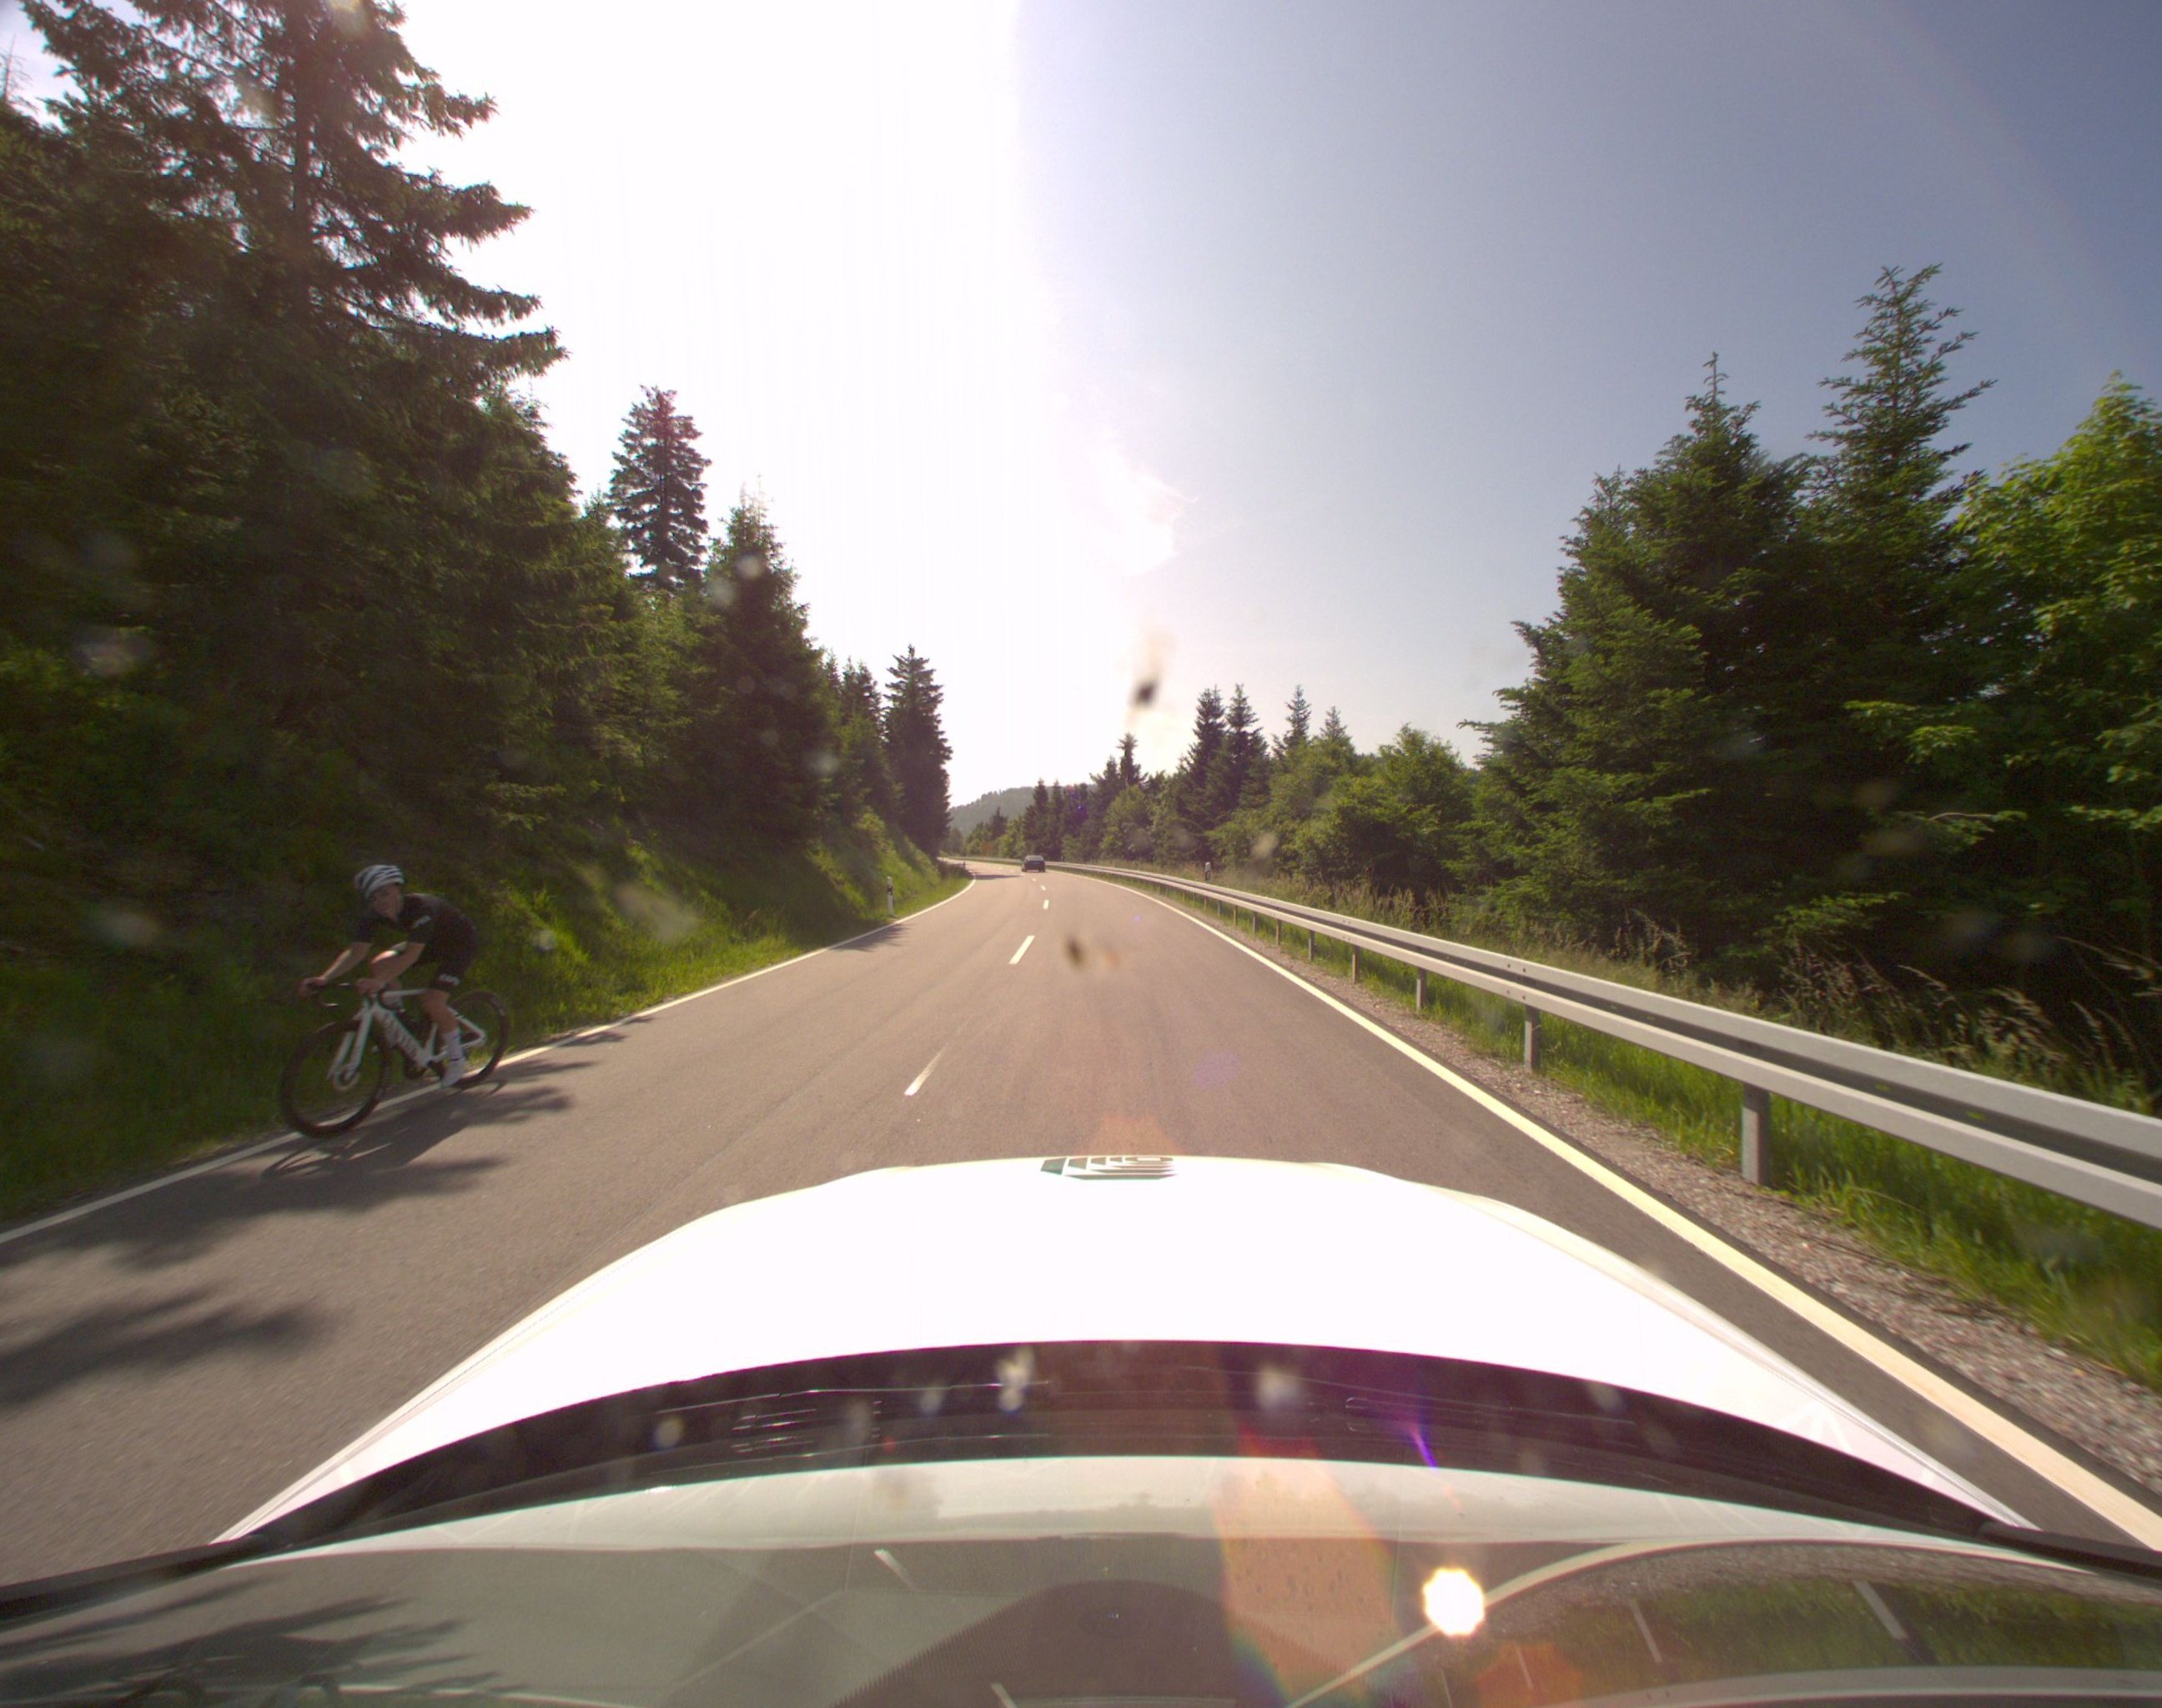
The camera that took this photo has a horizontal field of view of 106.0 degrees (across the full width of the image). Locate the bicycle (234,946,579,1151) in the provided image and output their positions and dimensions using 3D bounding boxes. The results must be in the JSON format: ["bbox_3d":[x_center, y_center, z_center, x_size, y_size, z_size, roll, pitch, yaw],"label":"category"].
[{"bbox_3d":[-4.374,1.193,5.542,0.551,0.886,2.063,-2,0,2],"label":"bicycle"}]

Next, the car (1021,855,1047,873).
[{"bbox_3d":[-4.040,0.823,69.718,1.776,1.442,3.696,-2,0,-10],"label":"car"}]

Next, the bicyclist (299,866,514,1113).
[{"bbox_3d":[-4.388,0.821,5.373,0.539,1.451,0.984,-2,0,2],"label":"bicyclist"}]
